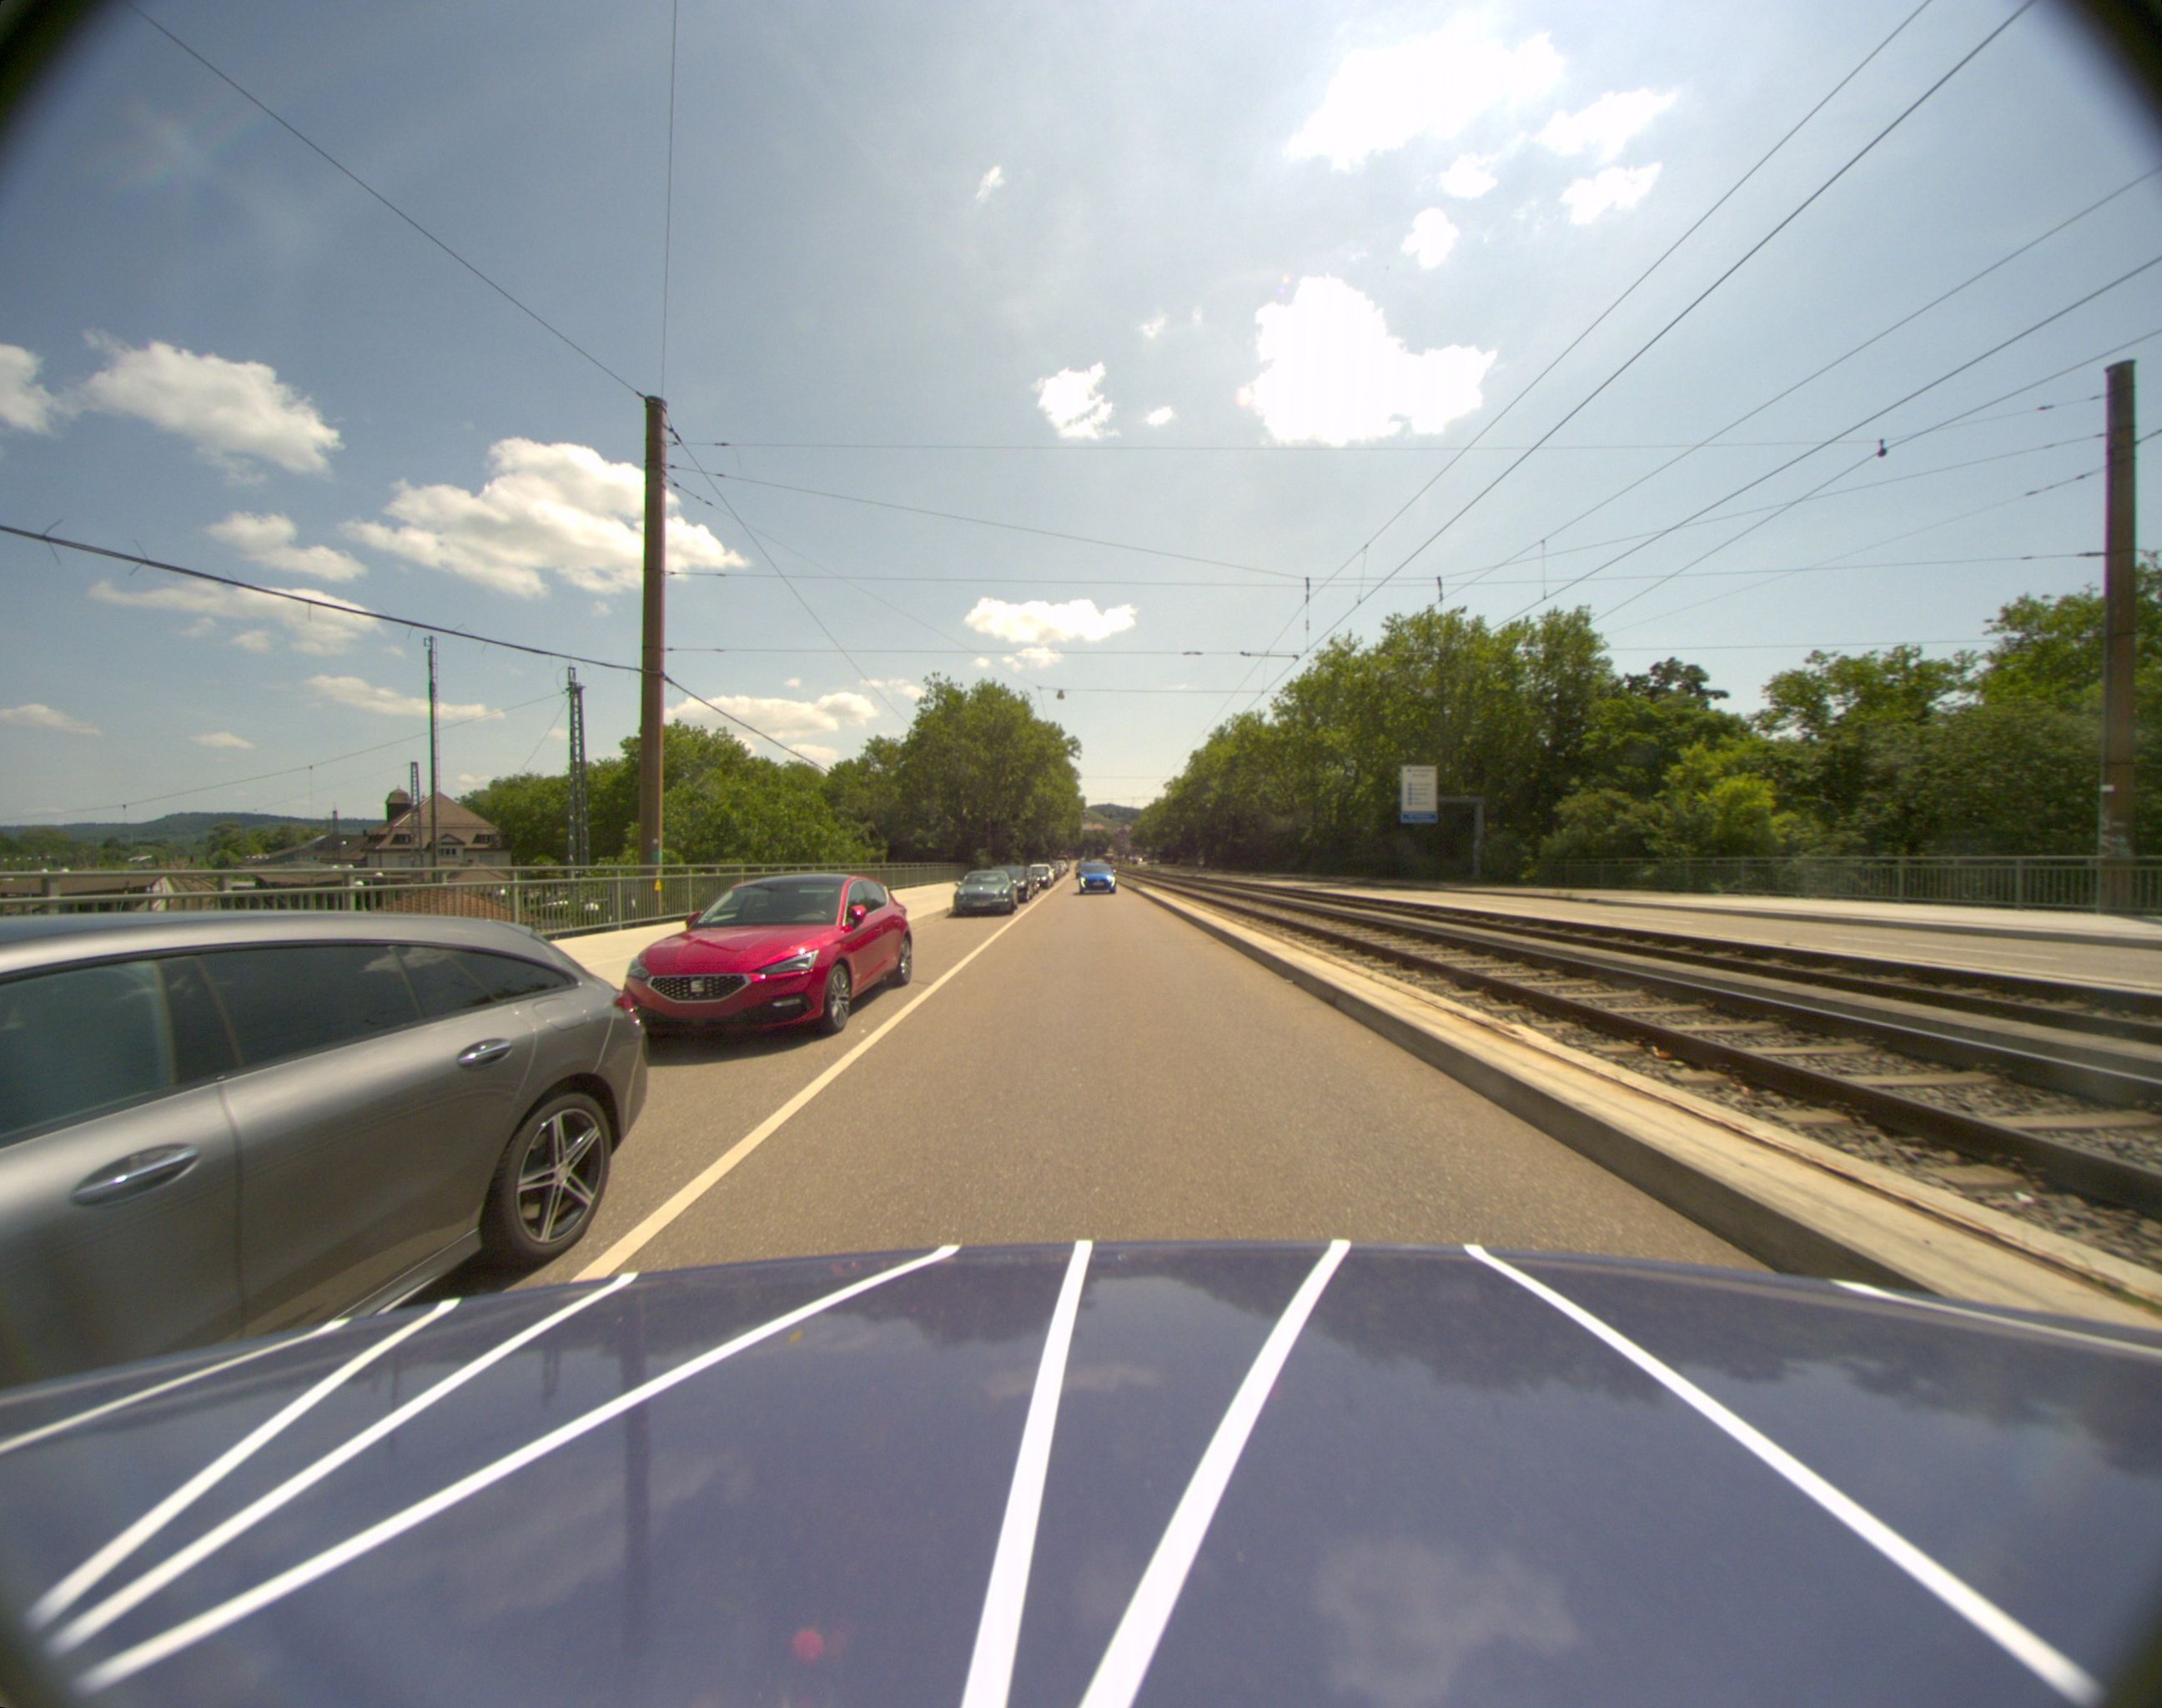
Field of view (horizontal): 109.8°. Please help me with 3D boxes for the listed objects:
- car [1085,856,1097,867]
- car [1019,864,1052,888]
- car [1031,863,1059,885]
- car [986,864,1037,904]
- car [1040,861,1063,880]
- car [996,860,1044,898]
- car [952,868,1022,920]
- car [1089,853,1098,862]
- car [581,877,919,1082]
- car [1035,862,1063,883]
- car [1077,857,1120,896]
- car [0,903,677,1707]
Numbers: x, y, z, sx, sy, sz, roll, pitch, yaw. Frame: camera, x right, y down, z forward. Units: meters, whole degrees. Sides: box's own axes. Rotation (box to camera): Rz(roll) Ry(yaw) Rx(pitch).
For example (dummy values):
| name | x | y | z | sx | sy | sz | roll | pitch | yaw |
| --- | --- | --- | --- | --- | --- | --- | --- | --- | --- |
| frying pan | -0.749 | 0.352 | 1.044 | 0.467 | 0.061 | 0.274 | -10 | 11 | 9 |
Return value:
| name | x | y | z | sx | sy | sz | roll | pitch | yaw |
| --- | --- | --- | --- | --- | --- | --- | --- | --- | --- |
| car | 1.921 | 1.439 | 145.529 | 1.998 | 2.002 | 4.000 | -2 | 0 | 2 |
| car | -2.730 | 1.314 | 46.077 | 1.759 | 1.381 | 3.699 | -1 | 0 | 0 |
| car | -2.428 | 1.351 | 51.986 | 1.683 | 1.423 | 4.159 | -1 | 0 | 0 |
| car | -2.729 | 1.157 | 30.686 | 1.639 | 1.445 | 4.388 | -2 | 0 | 0 |
| car | -2.662 | 1.459 | 69.006 | 1.798 | 1.614 | 4.246 | -2 | 0 | 1 |
| car | -2.943 | 1.187 | 37.472 | 1.829 | 1.549 | 4.159 | -5 | 0 | 1 |
| car | -2.856 | 1.180 | 23.892 | 1.689 | 1.350 | 4.592 | -2 | 0 | -2 |
| car | 3.161 | 0.874 | 189.505 | 1.998 | 2.002 | 4.000 | -2 | 0 | 0 |
| car | -3.052 | 1.050 | 8.094 | 1.651 | 1.451 | 4.285 | -2 | 0 | 0 |
| car | -2.418 | 1.416 | 58.884 | 1.829 | 1.422 | 4.246 | -2 | 0 | 1 |
| car | 0.810 | 1.015 | 35.532 | 1.864 | 1.630 | 4.000 | -2 | 0 | 1 |
| car | -3.020 | 1.033 | 1.507 | 1.999 | 1.543 | 4.720 | -2 | -1 | -2 |
